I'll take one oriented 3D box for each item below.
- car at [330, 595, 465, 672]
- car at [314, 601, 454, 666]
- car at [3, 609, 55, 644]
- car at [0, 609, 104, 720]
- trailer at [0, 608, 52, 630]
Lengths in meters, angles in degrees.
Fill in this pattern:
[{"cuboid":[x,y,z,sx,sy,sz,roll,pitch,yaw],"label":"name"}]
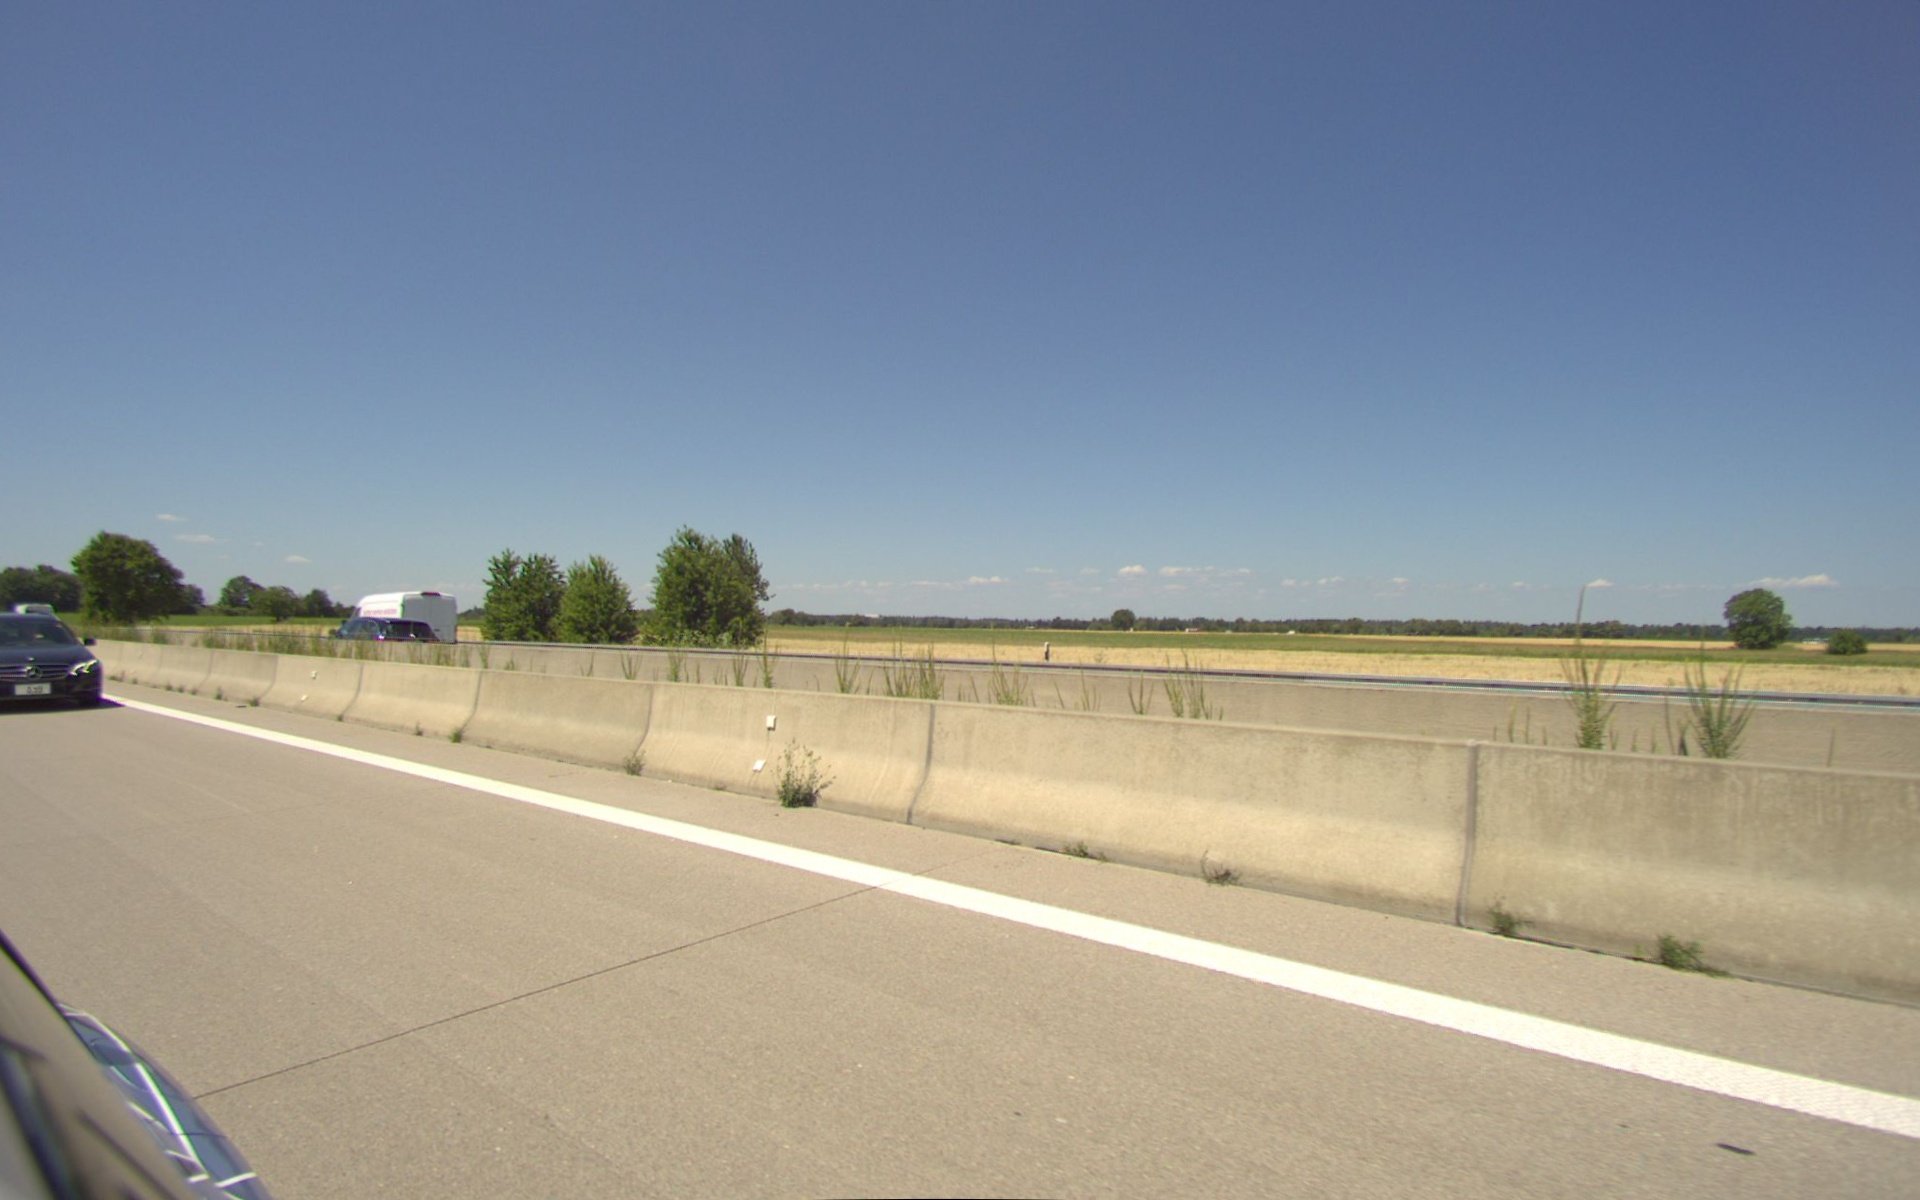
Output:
[{"cuboid":[-20.187,1.138,36.166,6.119,2.539,2.190,-1,-1,40],"label":"car"},{"cuboid":[-15.714,0.863,27.499,4.586,1.630,1.972,-1,-1,42],"label":"car"},{"cuboid":[-78.287,2.182,85.032,7.063,2.809,2.241,-1,-1,39],"label":"car"},{"cuboid":[-15.215,0.967,16.092,3.936,1.597,1.825,-1,-1,40],"label":"car"},{"cuboid":[-80.147,1.663,86.413,10.534,1.759,2.215,-1,-3,39],"label":"trailer"}]
